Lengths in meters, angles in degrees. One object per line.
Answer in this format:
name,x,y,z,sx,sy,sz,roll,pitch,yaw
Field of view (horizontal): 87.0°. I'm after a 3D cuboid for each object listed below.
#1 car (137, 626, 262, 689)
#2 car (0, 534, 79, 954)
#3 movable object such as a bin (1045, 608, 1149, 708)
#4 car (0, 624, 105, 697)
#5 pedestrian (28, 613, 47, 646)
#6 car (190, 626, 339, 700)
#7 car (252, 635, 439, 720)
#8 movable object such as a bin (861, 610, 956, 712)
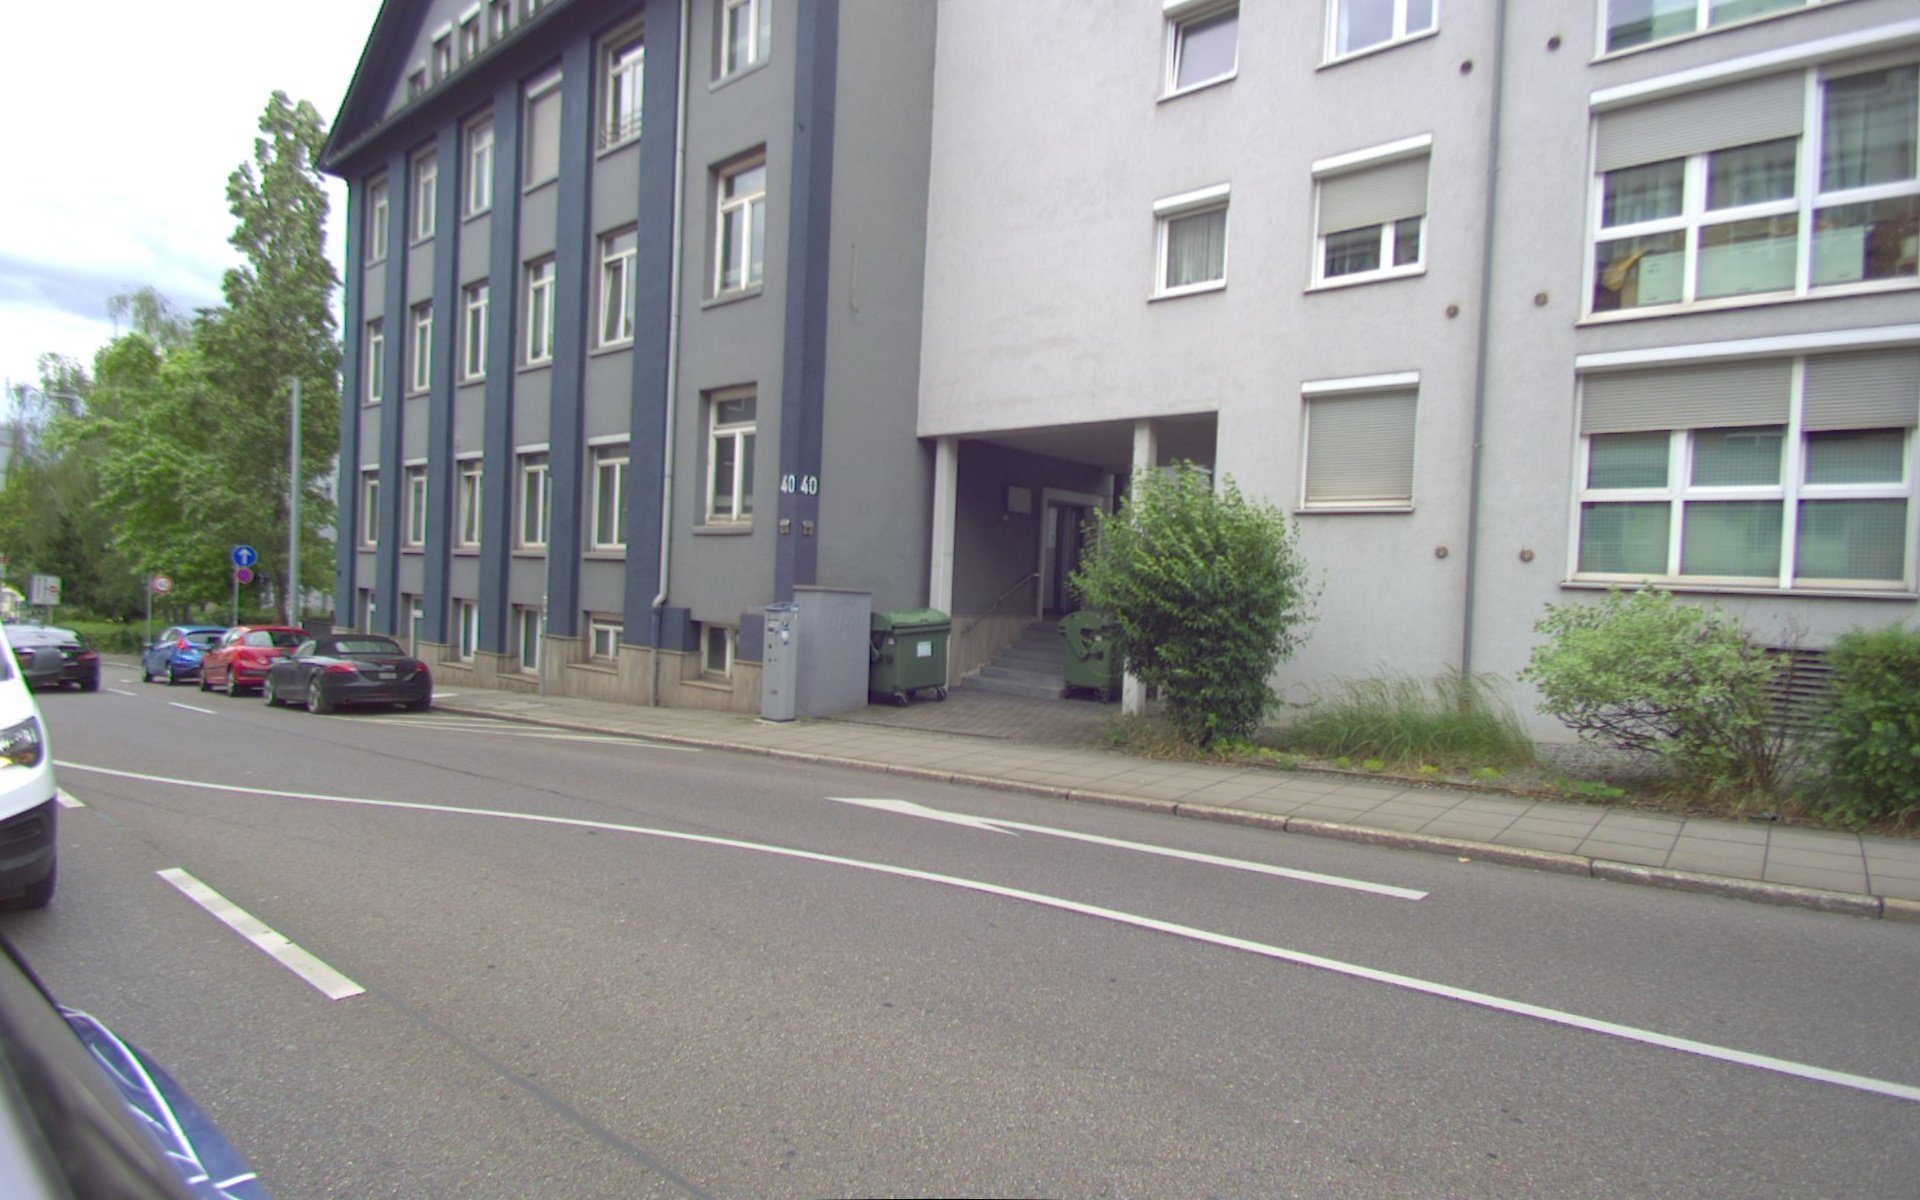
car,-19.343,1.421,25.703,3.724,1.465,1.702,-1,-3,40
car,-6.449,0.674,5.547,4.937,1.821,1.816,-1,0,42
movable object such as a bin,2.250,0.925,16.622,1.190,1.489,1.132,5,2,41
car,-20.193,1.268,21.963,4.668,1.429,1.766,-1,-4,41
pedestrian,-51.848,1.641,56.872,0.776,1.864,0.736,-2,-1,42
car,-15.244,1.344,22.123,3.868,1.485,1.795,-2,-4,43
car,-11.044,1.321,18.094,4.040,1.337,1.701,-1,-4,42
movable object such as a bin,-0.795,0.909,15.700,0.784,1.467,1.251,0,1,44
